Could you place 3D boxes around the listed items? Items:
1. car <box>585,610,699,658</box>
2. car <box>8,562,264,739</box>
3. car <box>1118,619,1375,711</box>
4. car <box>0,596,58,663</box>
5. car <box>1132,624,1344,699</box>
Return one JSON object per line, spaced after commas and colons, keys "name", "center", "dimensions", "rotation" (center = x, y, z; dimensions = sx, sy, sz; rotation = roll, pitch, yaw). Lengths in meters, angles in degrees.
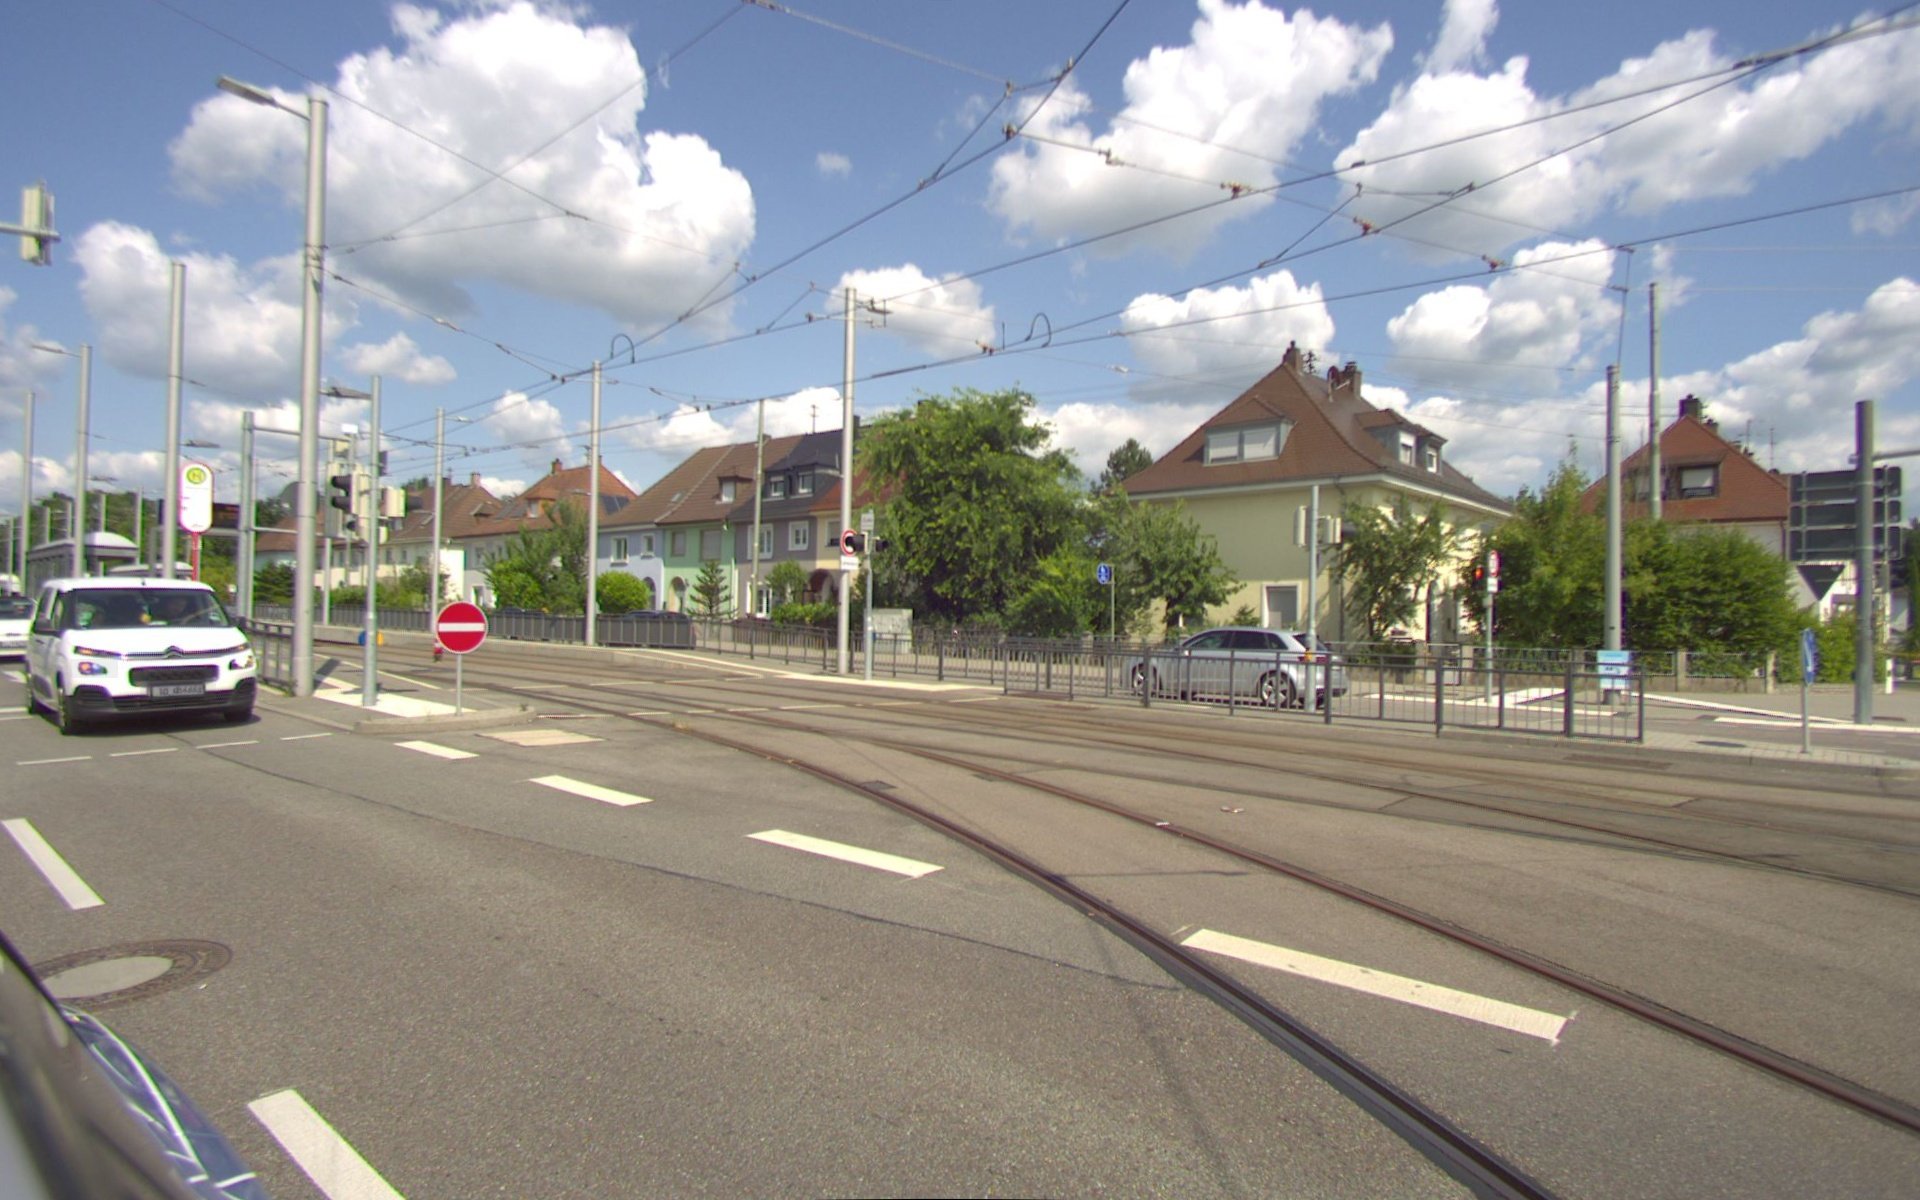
{"name": "car", "center": [-10.365, 1.055, 32.828], "dimensions": [4.177, 1.362, 1.666], "rotation": [1, 1, 42]}
{"name": "car", "center": [-10.321, 0.483, 12.563], "dimensions": [4.328, 1.829, 1.776], "rotation": [1, 1, 41]}
{"name": "car", "center": [5.248, 1.117, 18.824], "dimensions": [4.177, 1.362, 1.972], "rotation": [1, 1, 42]}
{"name": "car", "center": [-22.955, 0.663, 24.094], "dimensions": [3.389, 1.515, 1.660], "rotation": [1, 0, 38]}
{"name": "car", "center": [6.195, 1.309, 22.857], "dimensions": [4.343, 1.362, 1.667], "rotation": [1, 1, 41]}
